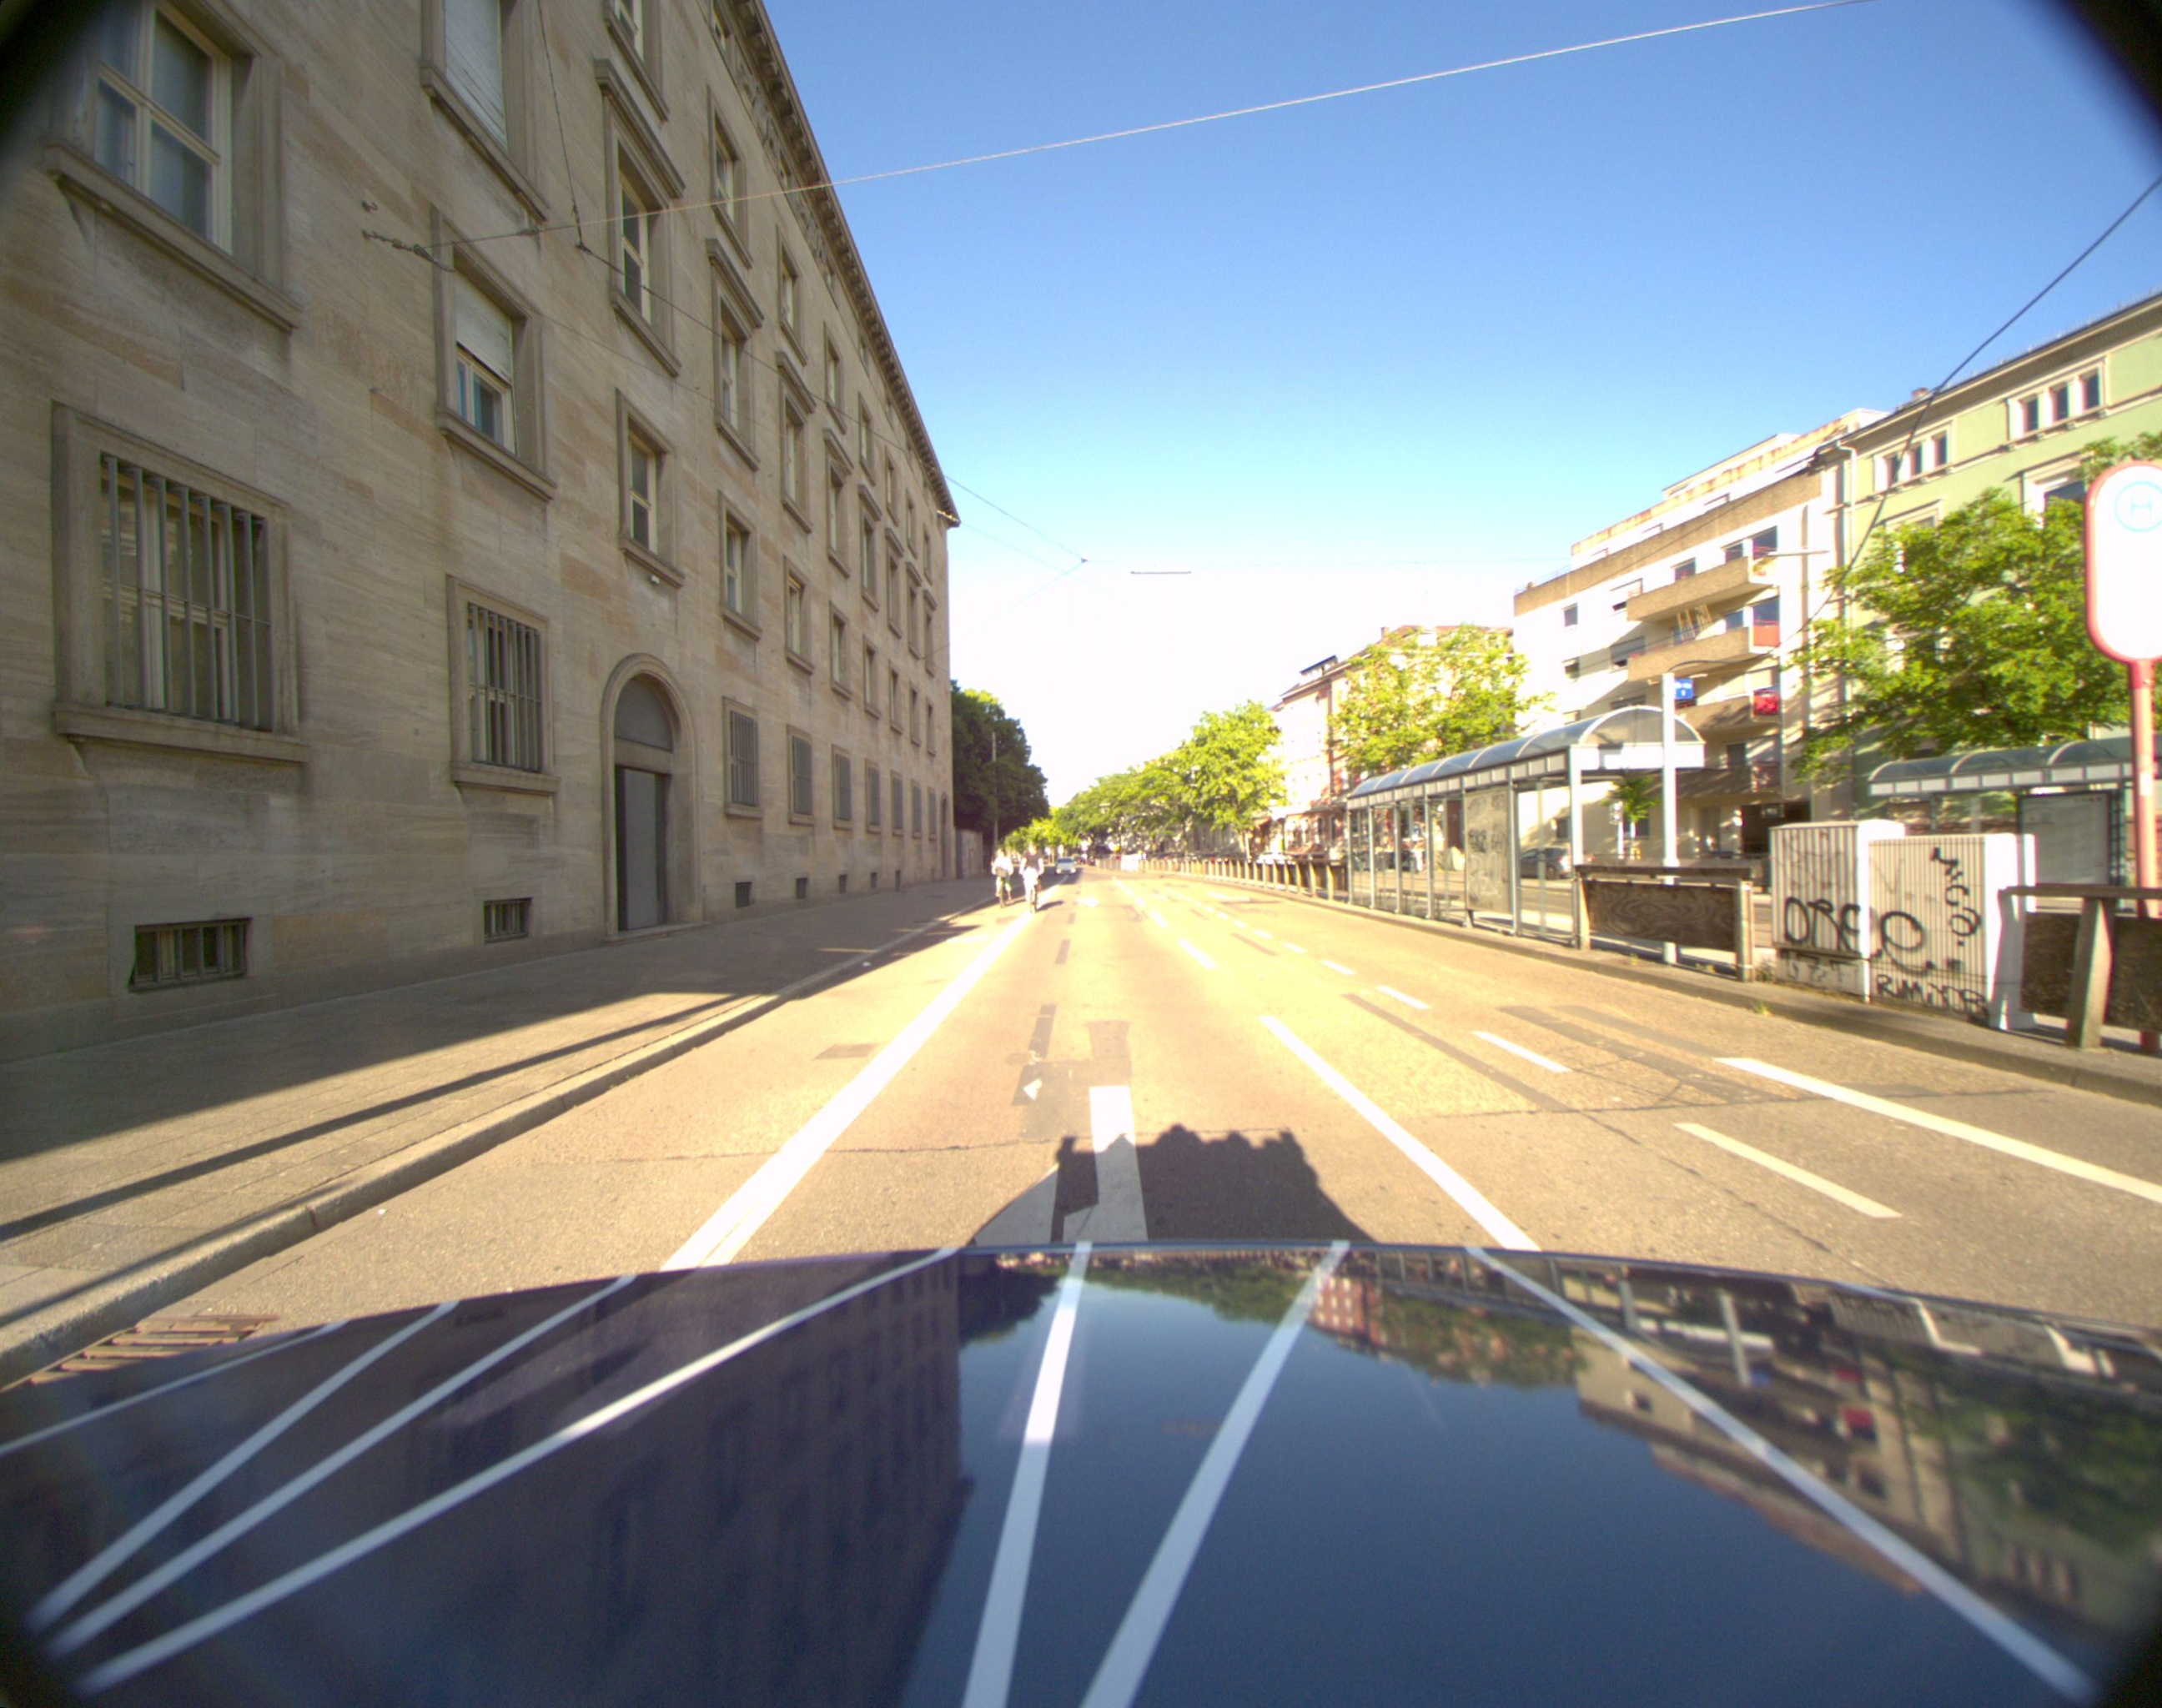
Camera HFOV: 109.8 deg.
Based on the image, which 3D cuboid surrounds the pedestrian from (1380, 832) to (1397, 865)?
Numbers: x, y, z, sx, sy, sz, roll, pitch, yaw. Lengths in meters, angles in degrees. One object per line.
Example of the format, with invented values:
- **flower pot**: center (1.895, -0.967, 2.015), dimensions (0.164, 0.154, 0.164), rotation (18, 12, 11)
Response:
- **pedestrian**: center (21.174, -0.379, 52.331), dimensions (0.813, 2.194, 0.756), rotation (-1, 1, -10)

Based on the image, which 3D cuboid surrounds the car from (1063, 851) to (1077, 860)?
- **car**: center (-1.841, 0.290, 128.519), dimensions (1.648, 1.480, 3.995), rotation (-2, 1, -12)

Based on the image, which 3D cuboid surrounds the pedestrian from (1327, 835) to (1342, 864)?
- **pedestrian**: center (19.260, -0.366, 57.772), dimensions (0.813, 2.194, 0.756), rotation (-1, 1, -10)

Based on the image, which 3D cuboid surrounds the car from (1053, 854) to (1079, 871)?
- **car**: center (-1.318, 0.708, 64.690), dimensions (1.772, 1.429, 3.831), rotation (-1, 0, -8)

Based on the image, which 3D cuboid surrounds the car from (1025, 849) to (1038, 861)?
- **car**: center (-9.118, 0.193, 139.577), dimensions (2.000, 2.002, 3.996), rotation (-1, 0, -10)

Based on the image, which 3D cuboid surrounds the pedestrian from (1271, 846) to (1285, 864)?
- **pedestrian**: center (17.866, 0.091, 68.942), dimensions (0.869, 1.619, 0.890), rotation (-1, 1, -15)

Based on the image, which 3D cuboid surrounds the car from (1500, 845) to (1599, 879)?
- **car**: center (20.908, 0.324, 34.068), dimensions (1.654, 1.419, 3.737), rotation (-1, 0, -11)

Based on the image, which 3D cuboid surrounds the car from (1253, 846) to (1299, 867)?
- **car**: center (16.343, 0.170, 63.576), dimensions (4.134, 1.698, 1.848), rotation (-1, 1, -45)

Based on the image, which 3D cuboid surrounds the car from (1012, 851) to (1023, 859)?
- **car**: center (-14.526, 0.170, 172.899), dimensions (2.001, 1.789, 3.995), rotation (-1, 0, -13)

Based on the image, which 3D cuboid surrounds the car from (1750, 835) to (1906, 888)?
- **car**: center (23.885, 0.213, 24.335), dimensions (4.002, 1.573, 1.761), rotation (-1, 0, -14)

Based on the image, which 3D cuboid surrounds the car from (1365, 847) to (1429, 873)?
- **car**: center (18.491, 0.333, 44.699), dimensions (1.609, 1.388, 3.996), rotation (-1, 0, -9)

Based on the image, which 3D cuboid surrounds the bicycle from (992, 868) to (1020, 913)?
- **bicycle**: center (-2.260, 1.086, 23.065), dimensions (0.625, 1.214, 1.659), rotation (-3, 1, 1)

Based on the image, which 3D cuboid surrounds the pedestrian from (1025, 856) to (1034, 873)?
- **pedestrian**: center (-4.007, 0.808, 58.847), dimensions (0.548, 1.327, 0.587), rotation (-1, 1, 7)

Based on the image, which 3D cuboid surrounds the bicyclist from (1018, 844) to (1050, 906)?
- **bicyclist**: center (-1.241, 0.544, 20.194), dimensions (0.728, 1.570, 0.775), rotation (-3, 1, 1)

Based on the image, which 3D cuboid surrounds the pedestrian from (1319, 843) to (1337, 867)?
- **pedestrian**: center (17.958, 0.057, 55.271), dimensions (0.855, 1.710, 1.019), rotation (-1, 1, -8)

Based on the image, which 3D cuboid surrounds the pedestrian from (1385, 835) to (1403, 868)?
- **pedestrian**: center (21.203, -0.179, 51.414), dimensions (0.813, 2.194, 0.756), rotation (-1, 1, -10)

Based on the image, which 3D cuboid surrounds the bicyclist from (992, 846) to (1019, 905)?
- **bicyclist**: center (-2.282, 0.651, 23.043), dimensions (0.625, 1.729, 0.688), rotation (-3, 1, 1)

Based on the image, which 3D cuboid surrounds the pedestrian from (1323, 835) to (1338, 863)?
- **pedestrian**: center (19.426, -0.389, 59.194), dimensions (0.812, 2.194, 0.756), rotation (-1, 1, -4)

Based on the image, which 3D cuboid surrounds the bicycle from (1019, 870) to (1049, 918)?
- **bicycle**: center (-1.222, 1.027, 20.106), dimensions (0.625, 1.167, 1.566), rotation (-3, 0, 1)

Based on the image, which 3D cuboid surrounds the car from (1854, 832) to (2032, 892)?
- **car**: center (24.684, 0.211, 21.794), dimensions (4.002, 1.573, 1.761), rotation (-1, 0, -14)
